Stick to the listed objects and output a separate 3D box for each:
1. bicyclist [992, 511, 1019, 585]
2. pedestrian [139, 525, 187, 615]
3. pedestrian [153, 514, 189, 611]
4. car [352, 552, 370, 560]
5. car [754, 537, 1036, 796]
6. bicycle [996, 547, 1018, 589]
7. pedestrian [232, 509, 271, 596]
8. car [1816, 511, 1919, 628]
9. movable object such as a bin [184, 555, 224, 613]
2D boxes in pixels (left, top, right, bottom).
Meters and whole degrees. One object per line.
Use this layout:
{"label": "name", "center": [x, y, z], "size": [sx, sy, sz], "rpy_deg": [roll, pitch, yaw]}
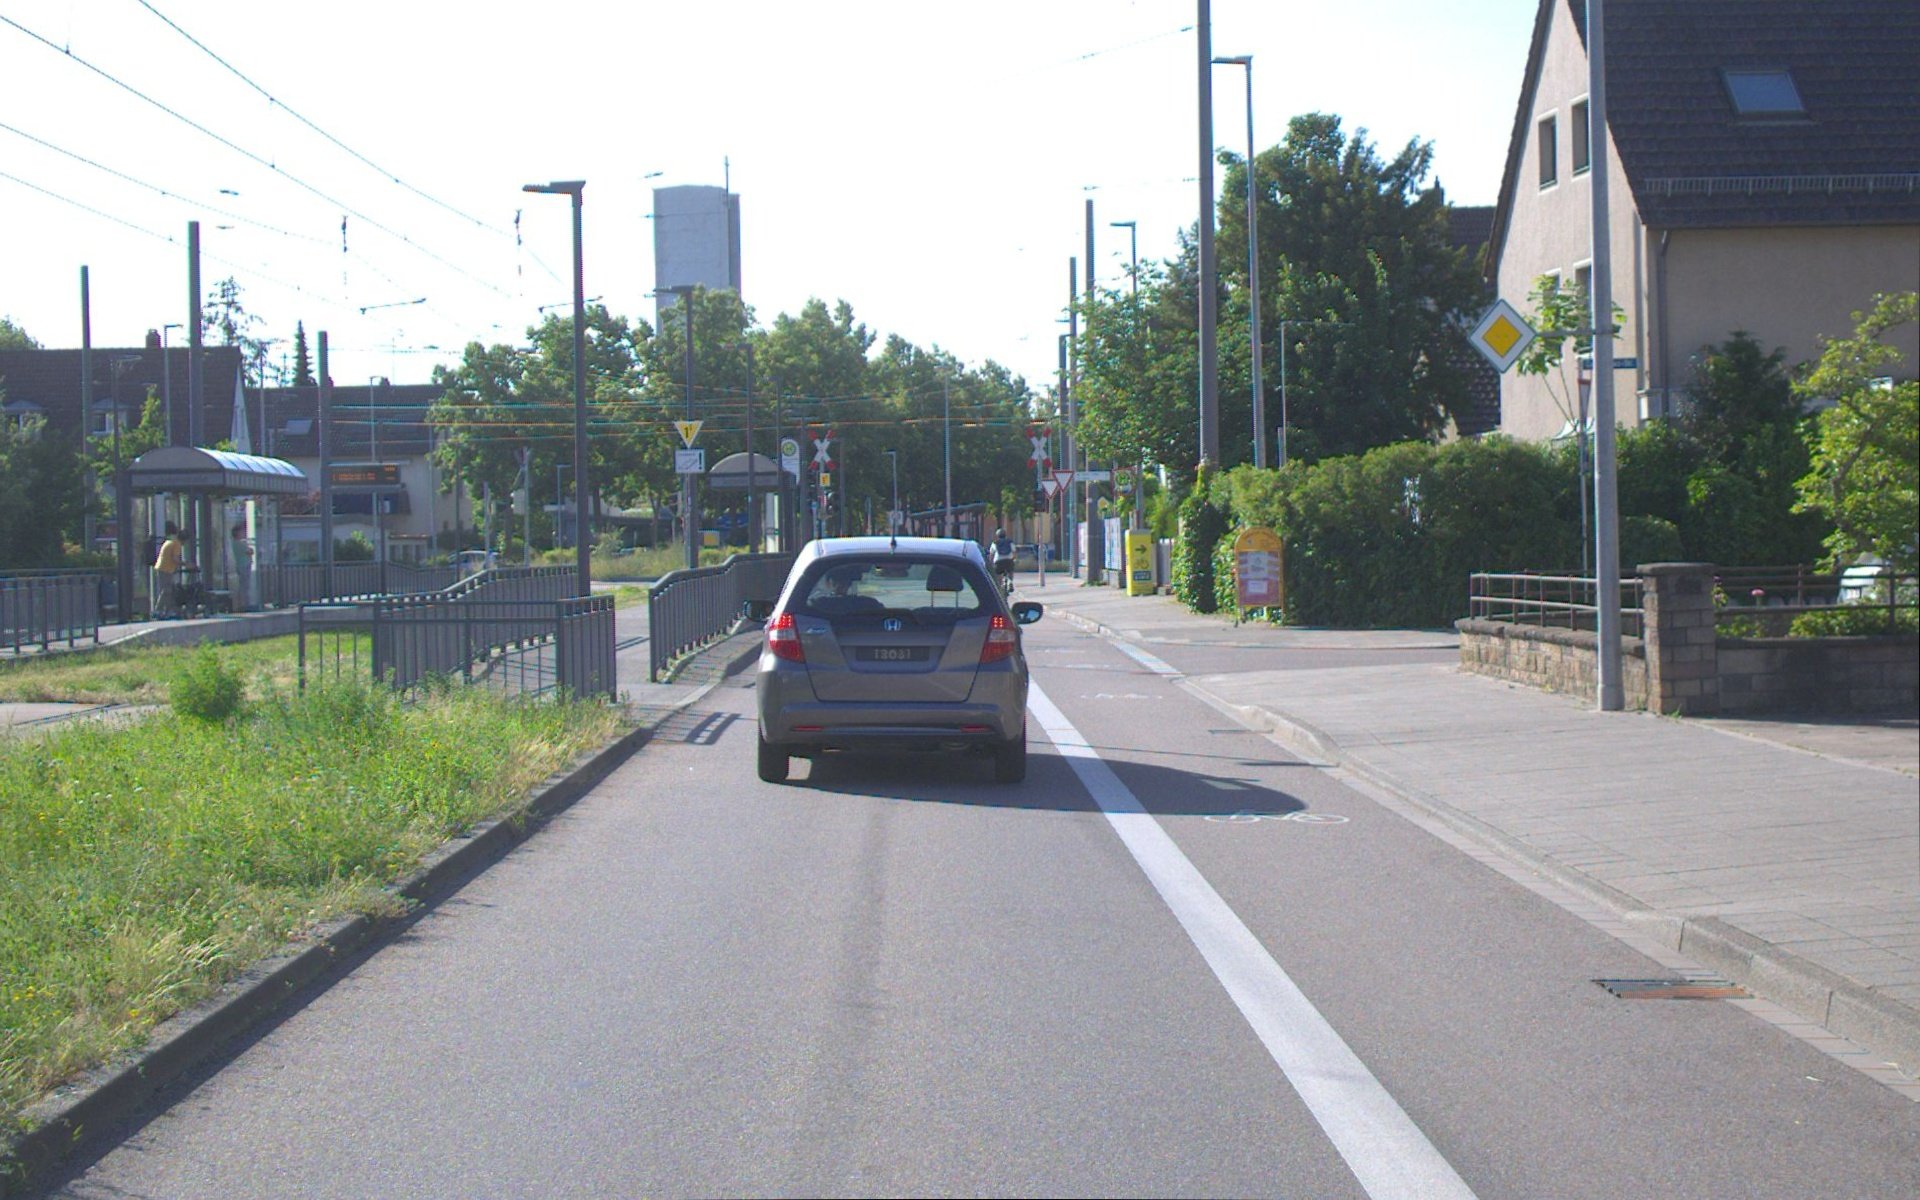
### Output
{"label": "bicyclist", "center": [1.055, -1.201, 79.534], "size": [0.598, 1.695, 0.683], "rpy_deg": [0, 0, 0]}
{"label": "pedestrian", "center": [-13.777, -0.527, 59.420], "size": [0.675, 1.530, 0.749], "rpy_deg": [-1, 1, -5]}
{"label": "pedestrian", "center": [-13.981, -0.669, 60.927], "size": [0.519, 1.702, 0.581], "rpy_deg": [-1, 1, -5]}
{"label": "car", "center": [-26.287, -1.929, 150.883], "size": [0.699, 0.335, 0.329], "rpy_deg": [0, 0, 4]}
{"label": "car", "center": [-0.431, 0.371, 22.278], "size": [1.670, 1.530, 3.487], "rpy_deg": [1, 1, -1]}
{"label": "bicycle", "center": [1.080, -0.737, 79.797], "size": [0.475, 0.958, 1.657], "rpy_deg": [0, 0, 0]}
{"label": "pedestrian", "center": [-14.084, -0.954, 68.343], "size": [0.500, 1.690, 0.771], "rpy_deg": [-3, 1, 0]}
{"label": "car", "center": [13.687, -0.428, 45.591], "size": [4.138, 1.506, 1.802], "rpy_deg": [-1, 0, -6]}
{"label": "movable object such as a bin", "center": [-13.132, -0.275, 59.729], "size": [0.546, 0.984, 0.741], "rpy_deg": [-1, 1, -4]}
